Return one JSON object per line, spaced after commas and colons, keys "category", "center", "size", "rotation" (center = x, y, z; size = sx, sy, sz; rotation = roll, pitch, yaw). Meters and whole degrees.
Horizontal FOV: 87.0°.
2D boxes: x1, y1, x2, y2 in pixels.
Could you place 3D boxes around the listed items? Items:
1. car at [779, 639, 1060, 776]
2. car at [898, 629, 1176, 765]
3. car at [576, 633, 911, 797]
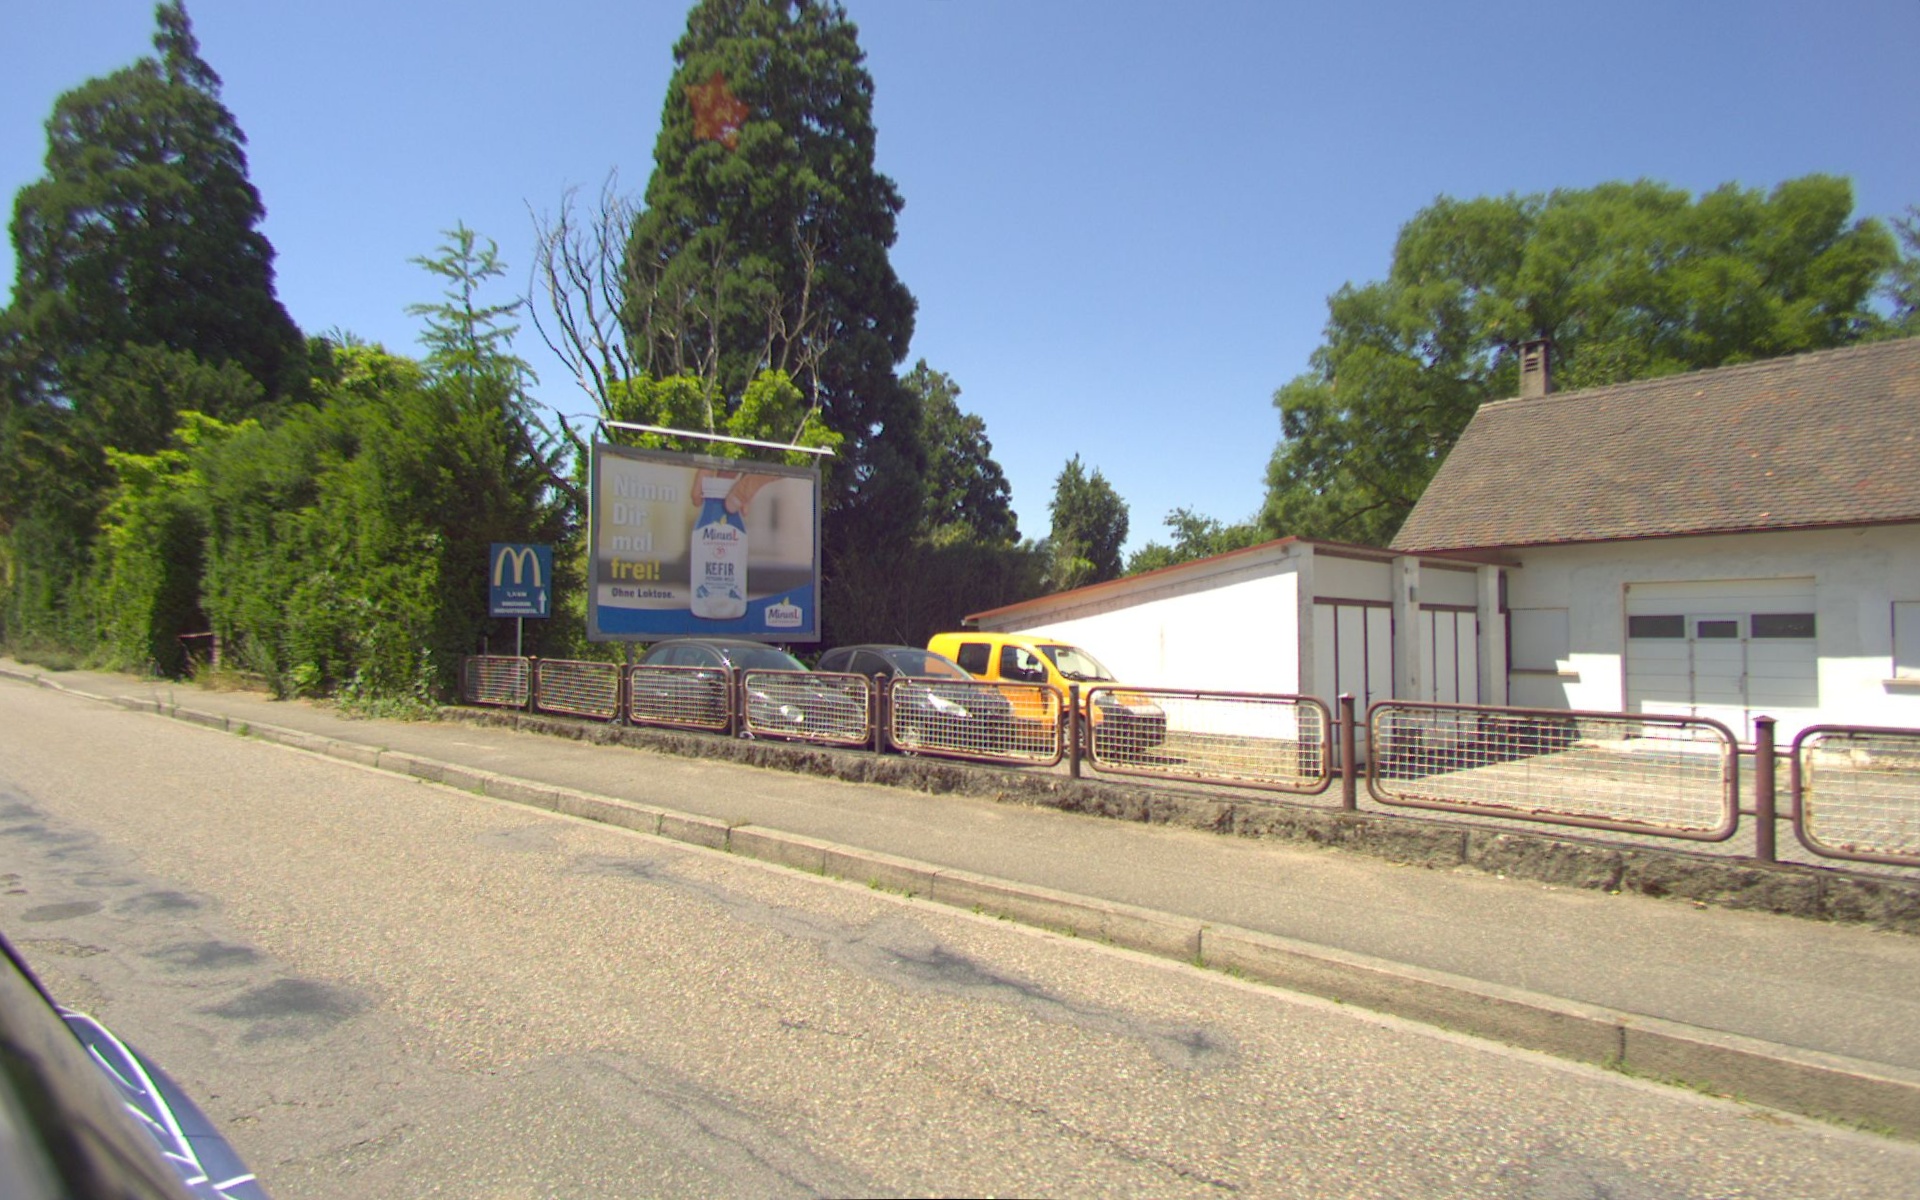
{"category": "car", "center": [-0.686, 1.382, 14.166], "size": [1.772, 1.530, 4.005], "rotation": [4, -3, -41]}
{"category": "car", "center": [1.118, 1.392, 15.692], "size": [3.997, 1.755, 1.776], "rotation": [0, -3, 40]}
{"category": "car", "center": [-2.666, 1.226, 12.030], "size": [3.997, 1.530, 1.776], "rotation": [0, -3, 40]}
